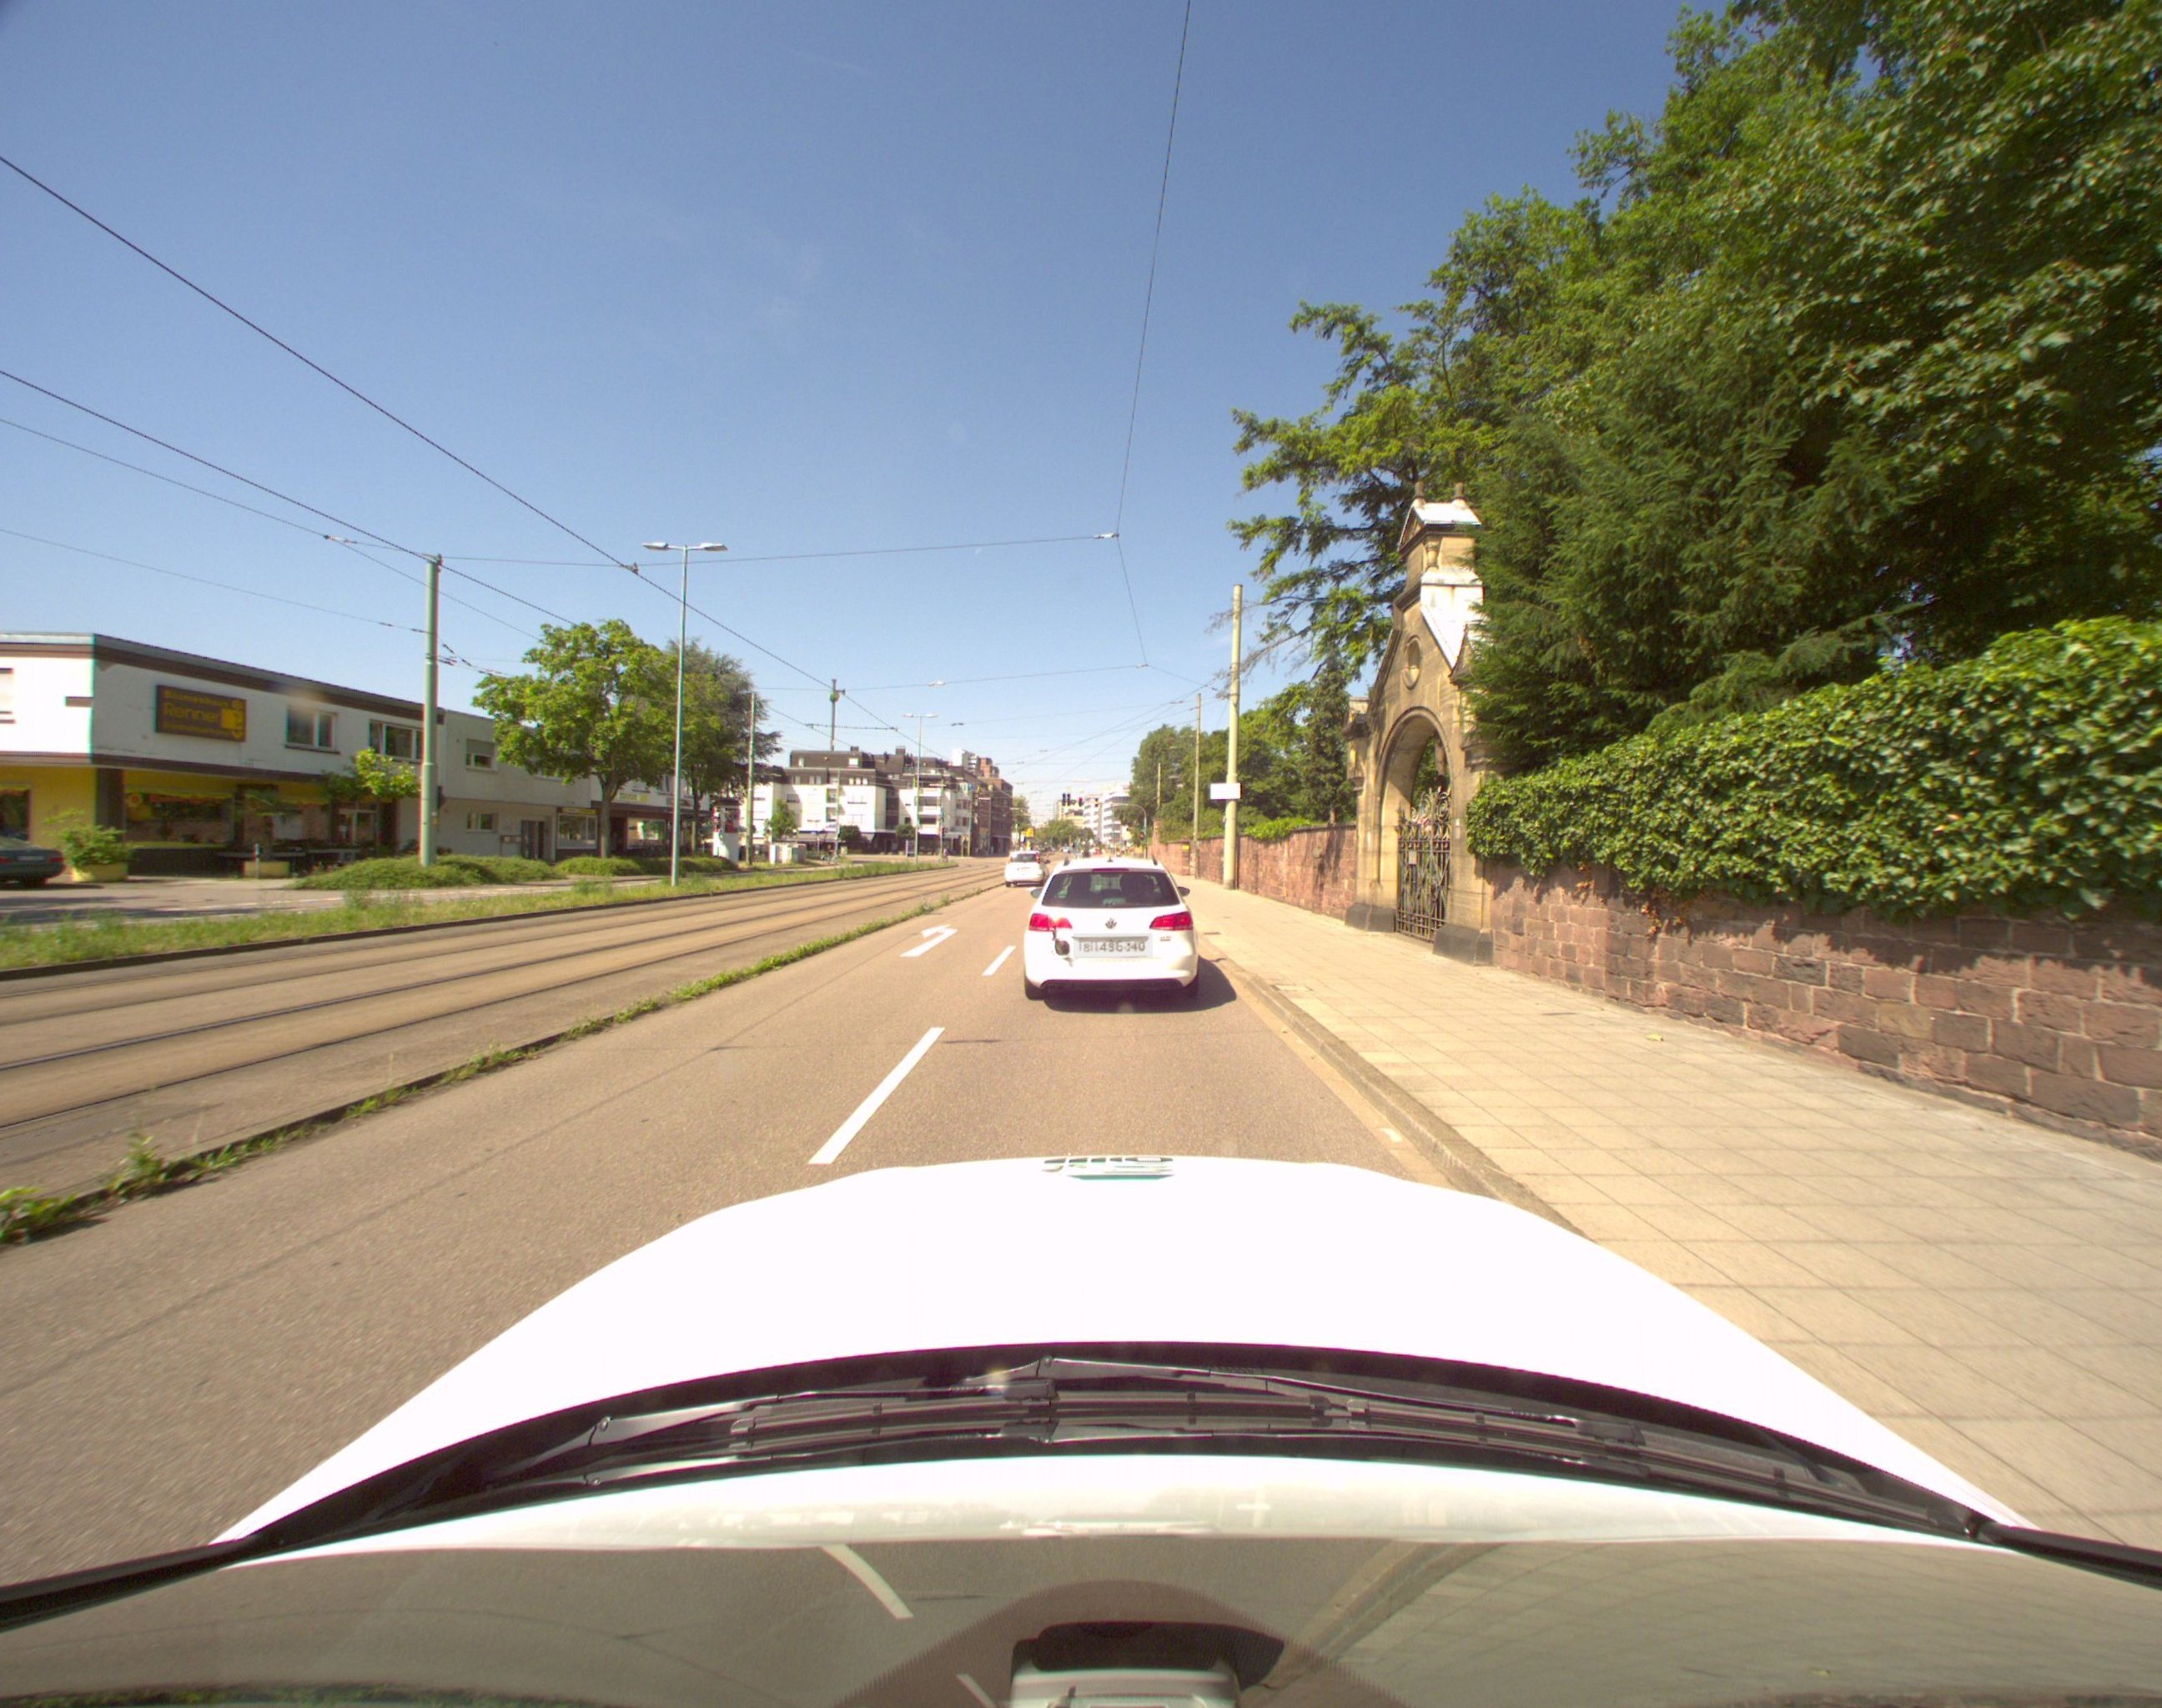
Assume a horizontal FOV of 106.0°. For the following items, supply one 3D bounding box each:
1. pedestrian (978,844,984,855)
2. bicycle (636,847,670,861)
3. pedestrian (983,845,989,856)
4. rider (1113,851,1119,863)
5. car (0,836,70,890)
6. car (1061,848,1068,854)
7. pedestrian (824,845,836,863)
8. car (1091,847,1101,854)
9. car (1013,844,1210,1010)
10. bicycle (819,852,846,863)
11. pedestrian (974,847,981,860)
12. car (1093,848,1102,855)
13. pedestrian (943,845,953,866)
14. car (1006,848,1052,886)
[{"bbox_3d":[-17.475,-0.808,142.960,0.934,2.013,0.989,1,0,-3],"label":"pedestrian"},{"bbox_3d":[-26.740,0.001,50.884,0.780,0.888,2.392,1,0,2],"label":"bicycle"},{"bbox_3d":[-16.308,-0.607,139.868,0.935,2.013,0.989,1,0,-4],"label":"pedestrian"},{"bbox_3d":[5.317,0.448,124.675,0.887,1.728,2.204,1,0,2],"label":"rider"},{"bbox_3d":[-28.994,0.196,20.856,4.131,1.344,1.698,1,0,1],"label":"car"},{"bbox_3d":[-4.493,-0.785,221.319,1.693,1.591,3.535,0,0,0],"label":"car"},{"bbox_3d":[-21.177,-0.019,68.790,0.559,1.487,0.821,0,0,44],"label":"pedestrian"},{"bbox_3d":[4.192,-1.065,230.403,1.993,1.903,3.988,1,0,-9],"label":"car"},{"bbox_3d":[0.345,0.655,9.318,1.772,1.490,3.849,-1,0,2],"label":"car"},{"bbox_3d":[-20.823,0.295,68.352,0.546,0.921,2.190,0,0,45],"label":"bicycle"},{"bbox_3d":[-17.057,-0.099,134.368,0.934,2.013,0.990,2,0,-2],"label":"pedestrian"},{"bbox_3d":[4.966,-0.762,247.514,1.995,2.013,3.983,1,0,-12],"label":"car"},{"bbox_3d":[-11.443,0.133,70.139,0.825,1.738,0.930,0,0,-7],"label":"pedestrian"},{"bbox_3d":[-2.279,0.559,36.436,1.724,1.596,4.011,0,0,1],"label":"car"}]
